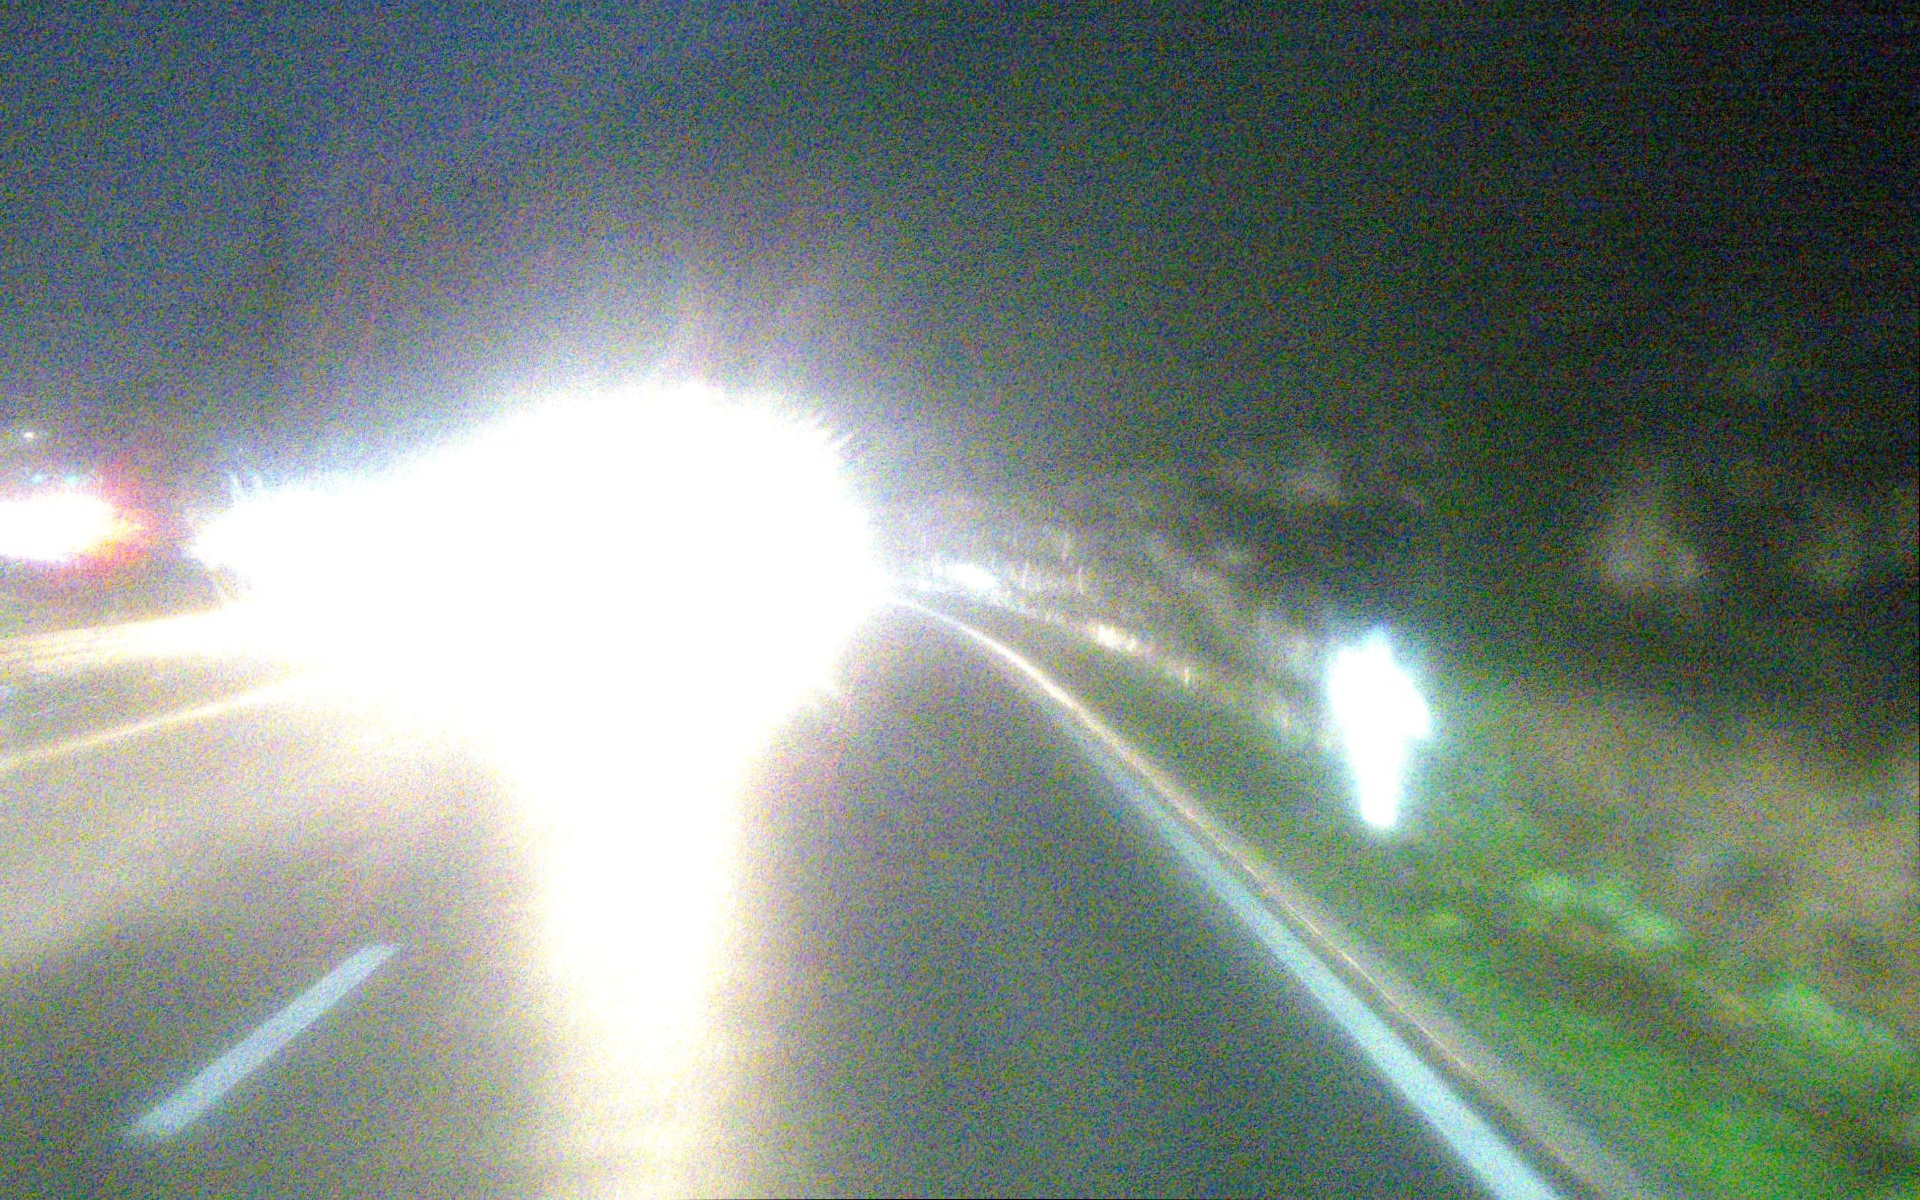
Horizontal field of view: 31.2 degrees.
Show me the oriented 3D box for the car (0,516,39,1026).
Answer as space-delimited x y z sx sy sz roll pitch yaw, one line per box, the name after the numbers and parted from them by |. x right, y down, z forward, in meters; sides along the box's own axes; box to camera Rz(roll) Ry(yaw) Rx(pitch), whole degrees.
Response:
-3.918 0.548 9.417 1.827 1.612 3.729 1 1 -1 | car

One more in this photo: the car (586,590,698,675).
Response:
-5.612 0.547 61.029 1.711 1.413 4.066 1 1 -2 | car
